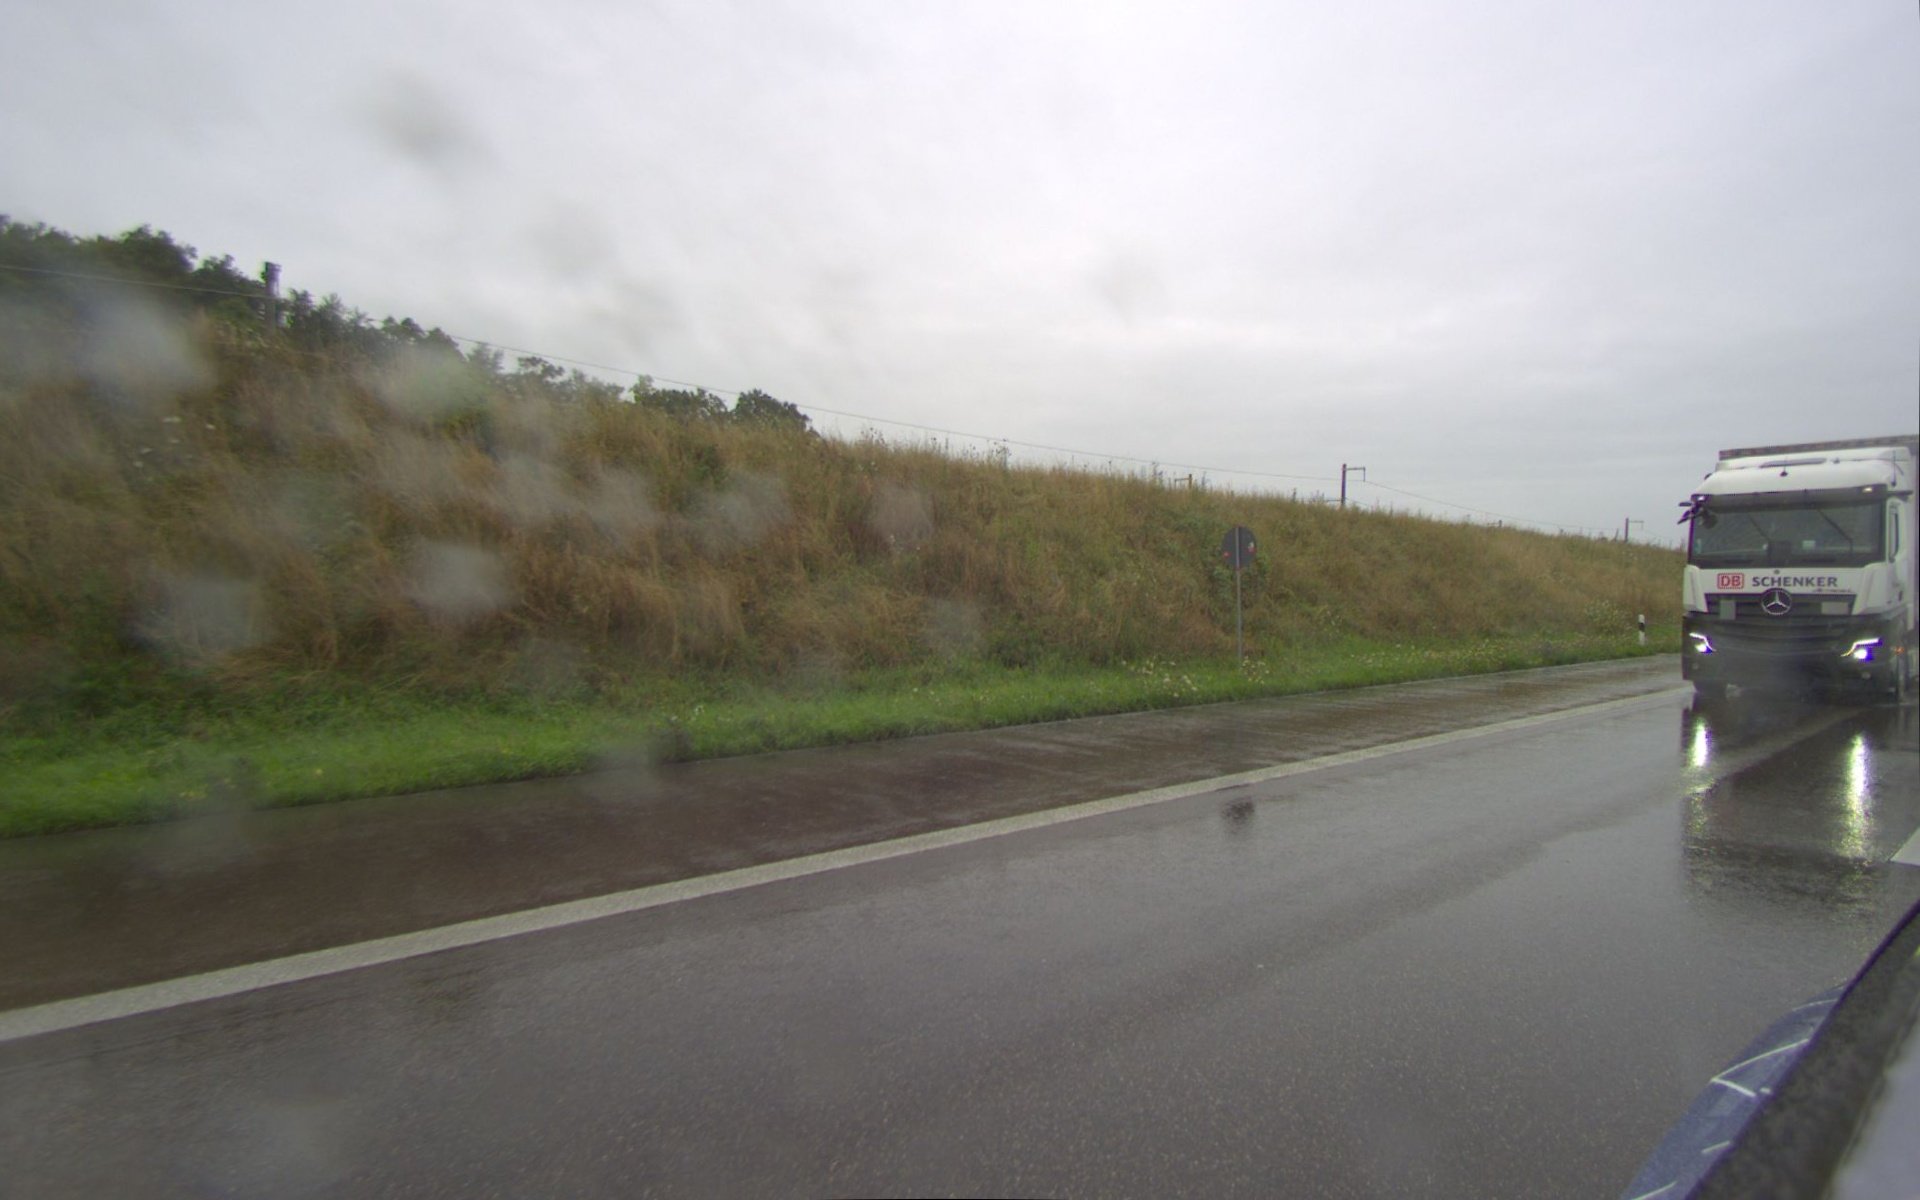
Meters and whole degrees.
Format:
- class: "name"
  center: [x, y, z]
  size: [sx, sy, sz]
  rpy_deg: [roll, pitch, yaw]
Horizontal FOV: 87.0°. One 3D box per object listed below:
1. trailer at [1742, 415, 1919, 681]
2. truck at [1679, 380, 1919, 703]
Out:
- class: "trailer"
  center: [20.131, -0.924, 21.732]
  size: [13.929, 4.302, 2.631]
  rpy_deg: [-1, 0, -41]
- class: "truck"
  center: [13.724, -0.813, 16.140]
  size: [4.956, 4.307, 2.630]
  rpy_deg: [-1, 0, -41]
